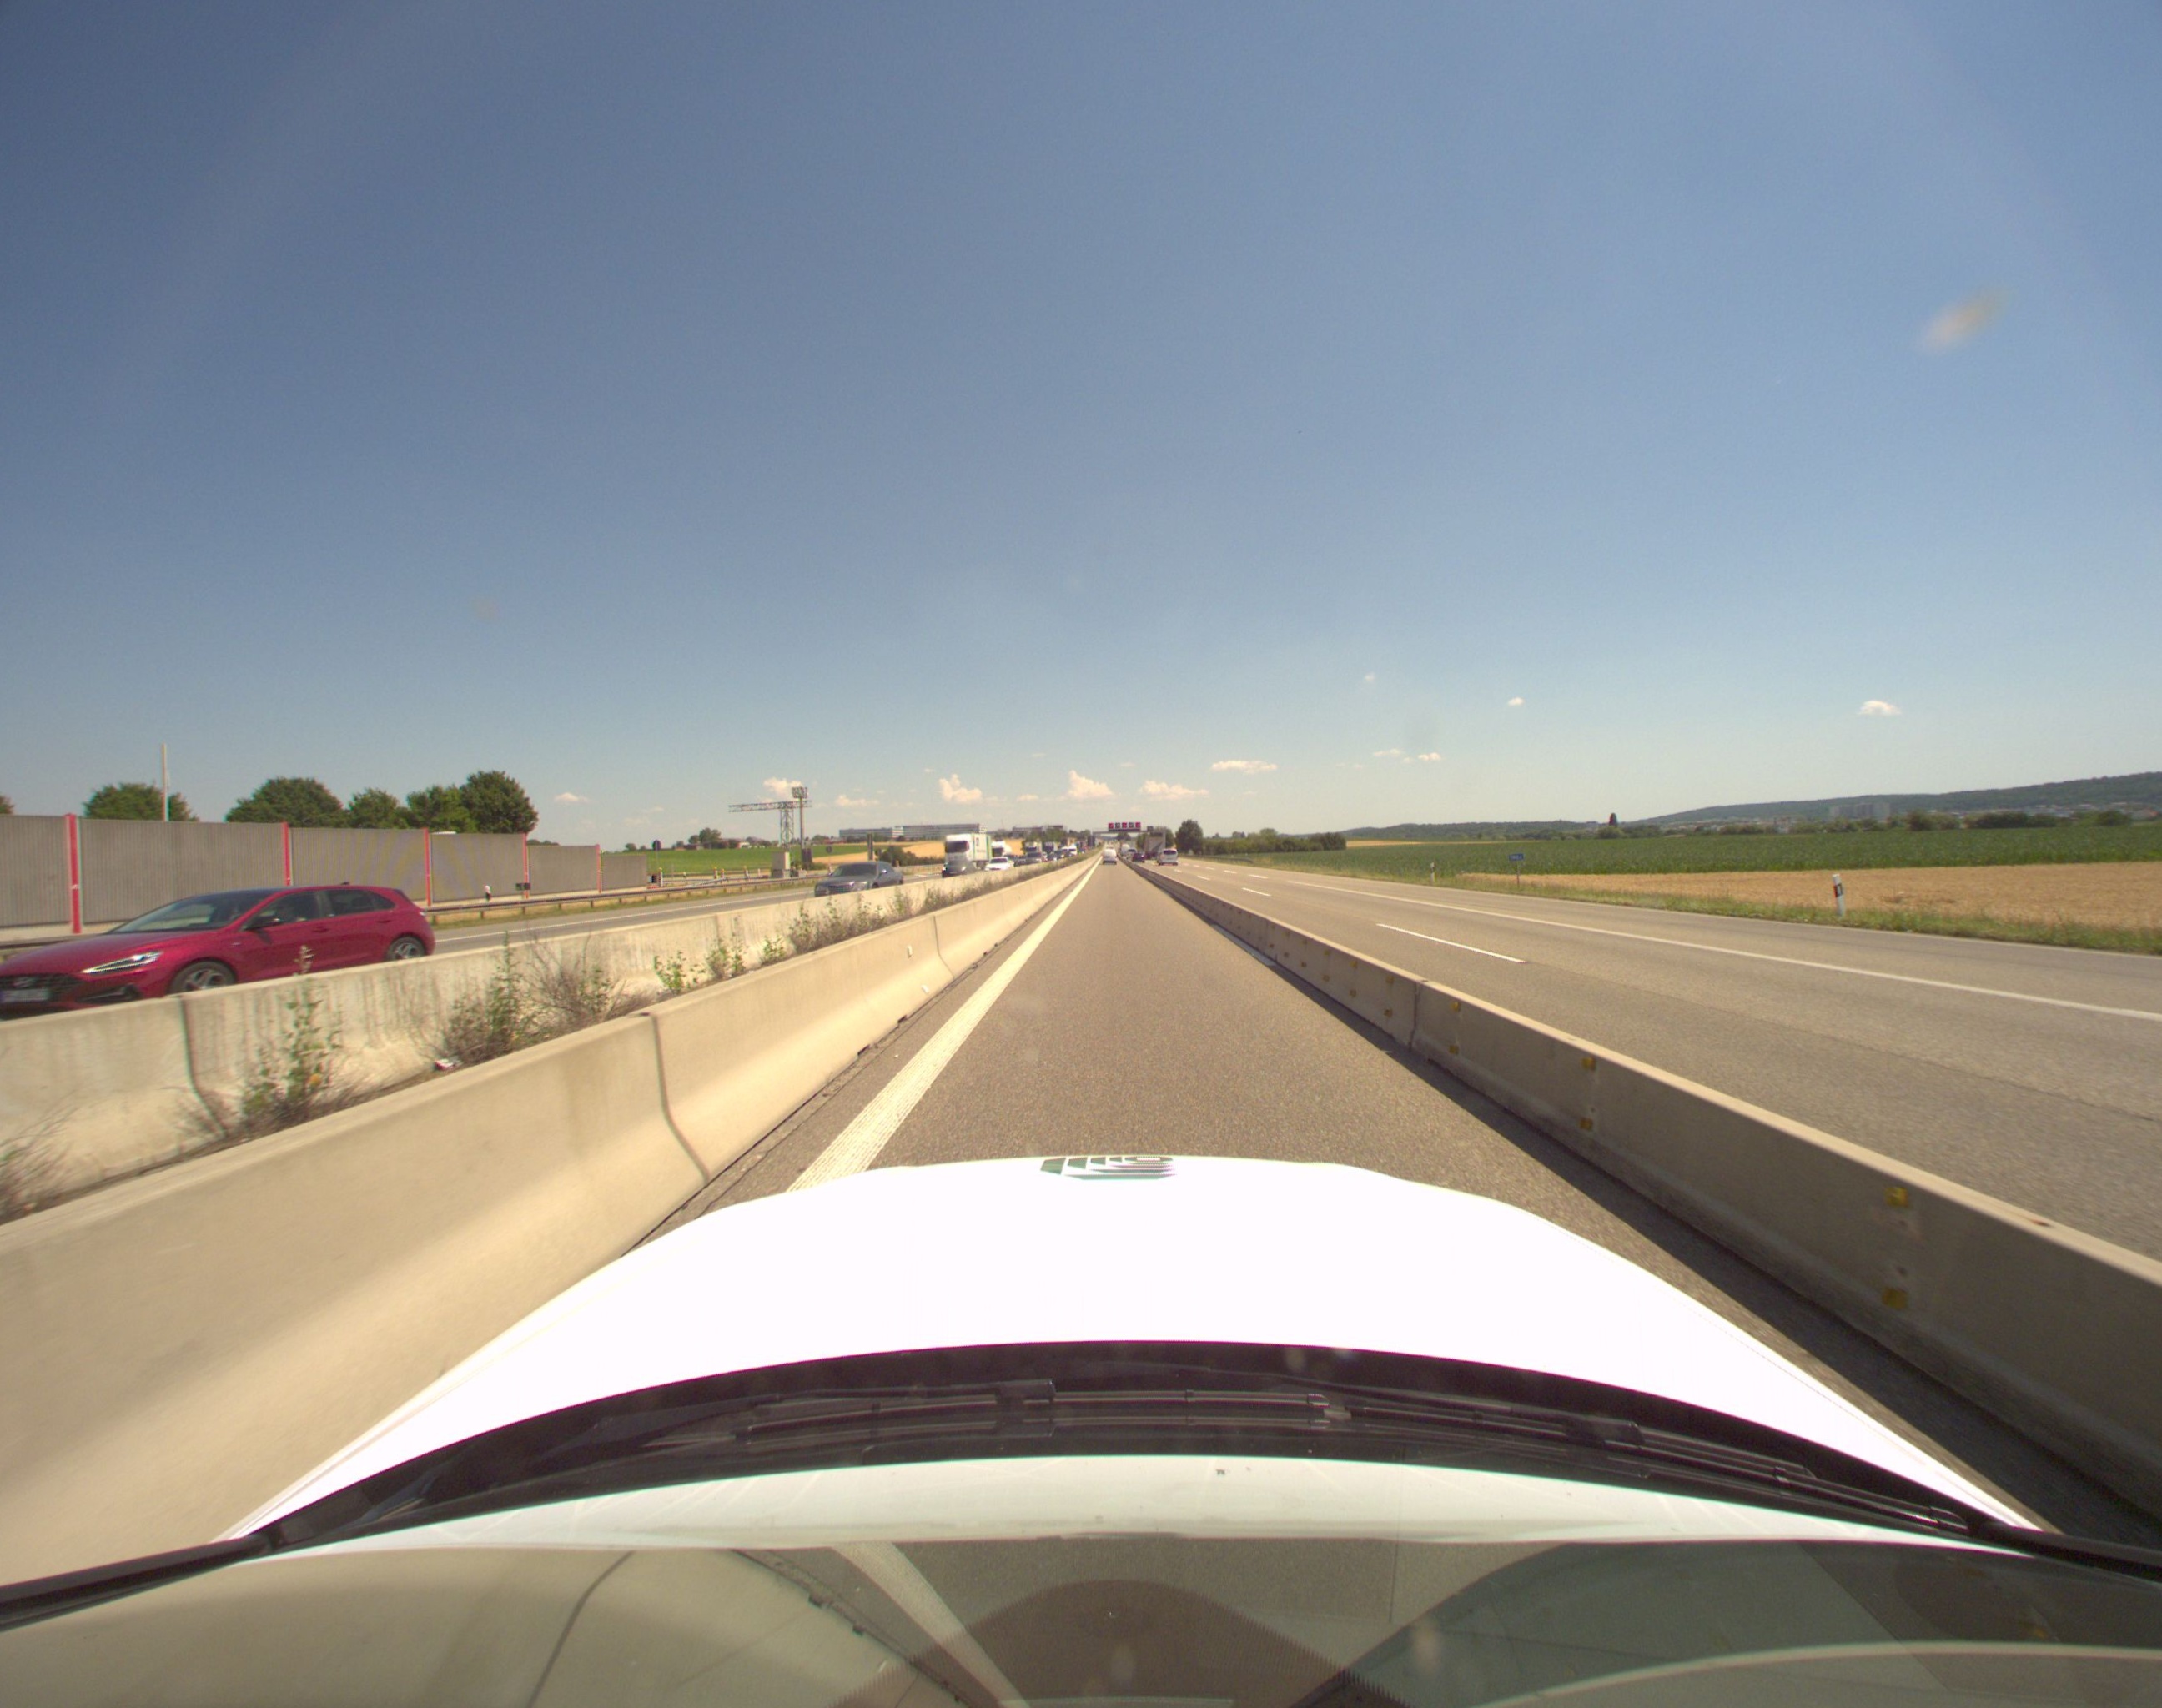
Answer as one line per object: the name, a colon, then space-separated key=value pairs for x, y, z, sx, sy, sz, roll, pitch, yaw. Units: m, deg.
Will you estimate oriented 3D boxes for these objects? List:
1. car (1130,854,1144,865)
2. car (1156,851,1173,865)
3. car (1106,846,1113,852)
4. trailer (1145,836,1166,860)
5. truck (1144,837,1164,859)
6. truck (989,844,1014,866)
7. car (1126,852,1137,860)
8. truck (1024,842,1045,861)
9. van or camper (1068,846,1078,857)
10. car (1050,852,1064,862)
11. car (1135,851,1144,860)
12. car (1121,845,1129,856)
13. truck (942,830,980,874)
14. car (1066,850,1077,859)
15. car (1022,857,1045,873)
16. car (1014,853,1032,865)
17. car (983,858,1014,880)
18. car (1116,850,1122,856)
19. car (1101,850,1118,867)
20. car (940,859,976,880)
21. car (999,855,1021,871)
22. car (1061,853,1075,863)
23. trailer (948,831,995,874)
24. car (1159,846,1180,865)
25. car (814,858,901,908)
car: x=7.736 y=0.778 z=112.833 sx=1.767 sy=1.447 sz=4.001 roll=-1 pitch=0 yaw=2
car: x=11.476 y=0.556 z=112.041 sx=1.986 sy=1.794 sz=4.001 roll=-1 pitch=0 yaw=2
car: x=8.678 y=-1.472 z=246.283 sx=1.986 sy=1.835 sz=4.002 roll=-1 pitch=0 yaw=2
trailer: x=13.028 y=-1.034 z=143.087 sx=3.265 sy=3.967 sz=9.116 roll=-1 pitch=0 yaw=2
truck: x=13.176 y=-1.022 z=147.144 sx=3.259 sy=3.967 sz=4.914 roll=-1 pitch=0 yaw=2
truck: x=-14.506 y=0.162 z=149.417 sx=2.889 sy=3.776 sz=13.291 roll=-4 pitch=0 yaw=1
car: x=9.109 y=0.371 z=146.885 sx=1.767 sy=1.447 sz=4.001 roll=-1 pitch=0 yaw=2
truck: x=-9.310 y=-0.551 z=163.606 sx=2.784 sy=3.609 sz=13.296 roll=-3 pitch=0 yaw=2
van or camper: x=-1.760 y=-0.576 z=181.269 sx=2.028 sy=2.221 sz=7.210 roll=0 pitch=0 yaw=2
car: x=-3.384 y=0.375 z=114.455 sx=1.649 sy=1.351 sz=4.269 roll=-1 pitch=0 yaw=2
car: x=13.977 y=0.412 z=195.130 sx=1.986 sy=2.014 sz=4.001 roll=-1 pitch=0 yaw=2
car: x=10.215 y=-0.733 z=187.640 sx=1.767 sy=2.392 sz=4.001 roll=-1 pitch=0 yaw=2
truck: x=-12.432 y=-0.219 z=84.797 sx=2.860 sy=4.375 sz=4.905 roll=-3 pitch=0 yaw=2
car: x=-1.783 y=0.044 z=153.408 sx=1.775 sy=1.589 sz=4.543 roll=-1 pitch=0 yaw=2
car: x=-4.785 y=1.101 z=82.943 sx=1.883 sy=1.617 sz=4.823 roll=-1 pitch=0 yaw=2
car: x=-7.983 y=0.652 z=112.219 sx=1.839 sy=1.482 sz=4.924 roll=-1 pitch=0 yaw=2
car: x=-5.954 y=1.070 z=59.039 sx=1.668 sy=1.519 sz=4.510 roll=-1 pitch=0 yaw=2
car: x=12.116 y=-0.441 z=259.329 sx=1.986 sy=1.835 sz=4.002 roll=-1 pitch=0 yaw=2
car: x=3.539 y=0.535 z=100.239 sx=1.986 sy=2.014 sz=4.001 roll=-1 pitch=0 yaw=2
car: x=-9.268 y=1.174 z=61.701 sx=1.805 sy=1.486 sz=4.965 roll=-1 pitch=0 yaw=2
car: x=-8.090 y=0.999 z=92.801 sx=1.986 sy=1.816 sz=4.001 roll=-1 pitch=0 yaw=2
car: x=-2.057 y=0.657 z=129.416 sx=1.836 sy=1.569 sz=5.347 roll=-1 pitch=0 yaw=2
trailer: x=-12.201 y=-0.165 z=91.895 sx=2.882 sy=4.375 sz=12.998 roll=-3 pitch=0 yaw=2
car: x=10.042 y=0.210 z=92.782 sx=1.986 sy=2.120 sz=4.001 roll=-1 pitch=0 yaw=2
car: x=-7.260 y=0.886 z=26.837 sx=1.649 sy=1.519 sz=4.001 roll=-1 pitch=0 yaw=2
